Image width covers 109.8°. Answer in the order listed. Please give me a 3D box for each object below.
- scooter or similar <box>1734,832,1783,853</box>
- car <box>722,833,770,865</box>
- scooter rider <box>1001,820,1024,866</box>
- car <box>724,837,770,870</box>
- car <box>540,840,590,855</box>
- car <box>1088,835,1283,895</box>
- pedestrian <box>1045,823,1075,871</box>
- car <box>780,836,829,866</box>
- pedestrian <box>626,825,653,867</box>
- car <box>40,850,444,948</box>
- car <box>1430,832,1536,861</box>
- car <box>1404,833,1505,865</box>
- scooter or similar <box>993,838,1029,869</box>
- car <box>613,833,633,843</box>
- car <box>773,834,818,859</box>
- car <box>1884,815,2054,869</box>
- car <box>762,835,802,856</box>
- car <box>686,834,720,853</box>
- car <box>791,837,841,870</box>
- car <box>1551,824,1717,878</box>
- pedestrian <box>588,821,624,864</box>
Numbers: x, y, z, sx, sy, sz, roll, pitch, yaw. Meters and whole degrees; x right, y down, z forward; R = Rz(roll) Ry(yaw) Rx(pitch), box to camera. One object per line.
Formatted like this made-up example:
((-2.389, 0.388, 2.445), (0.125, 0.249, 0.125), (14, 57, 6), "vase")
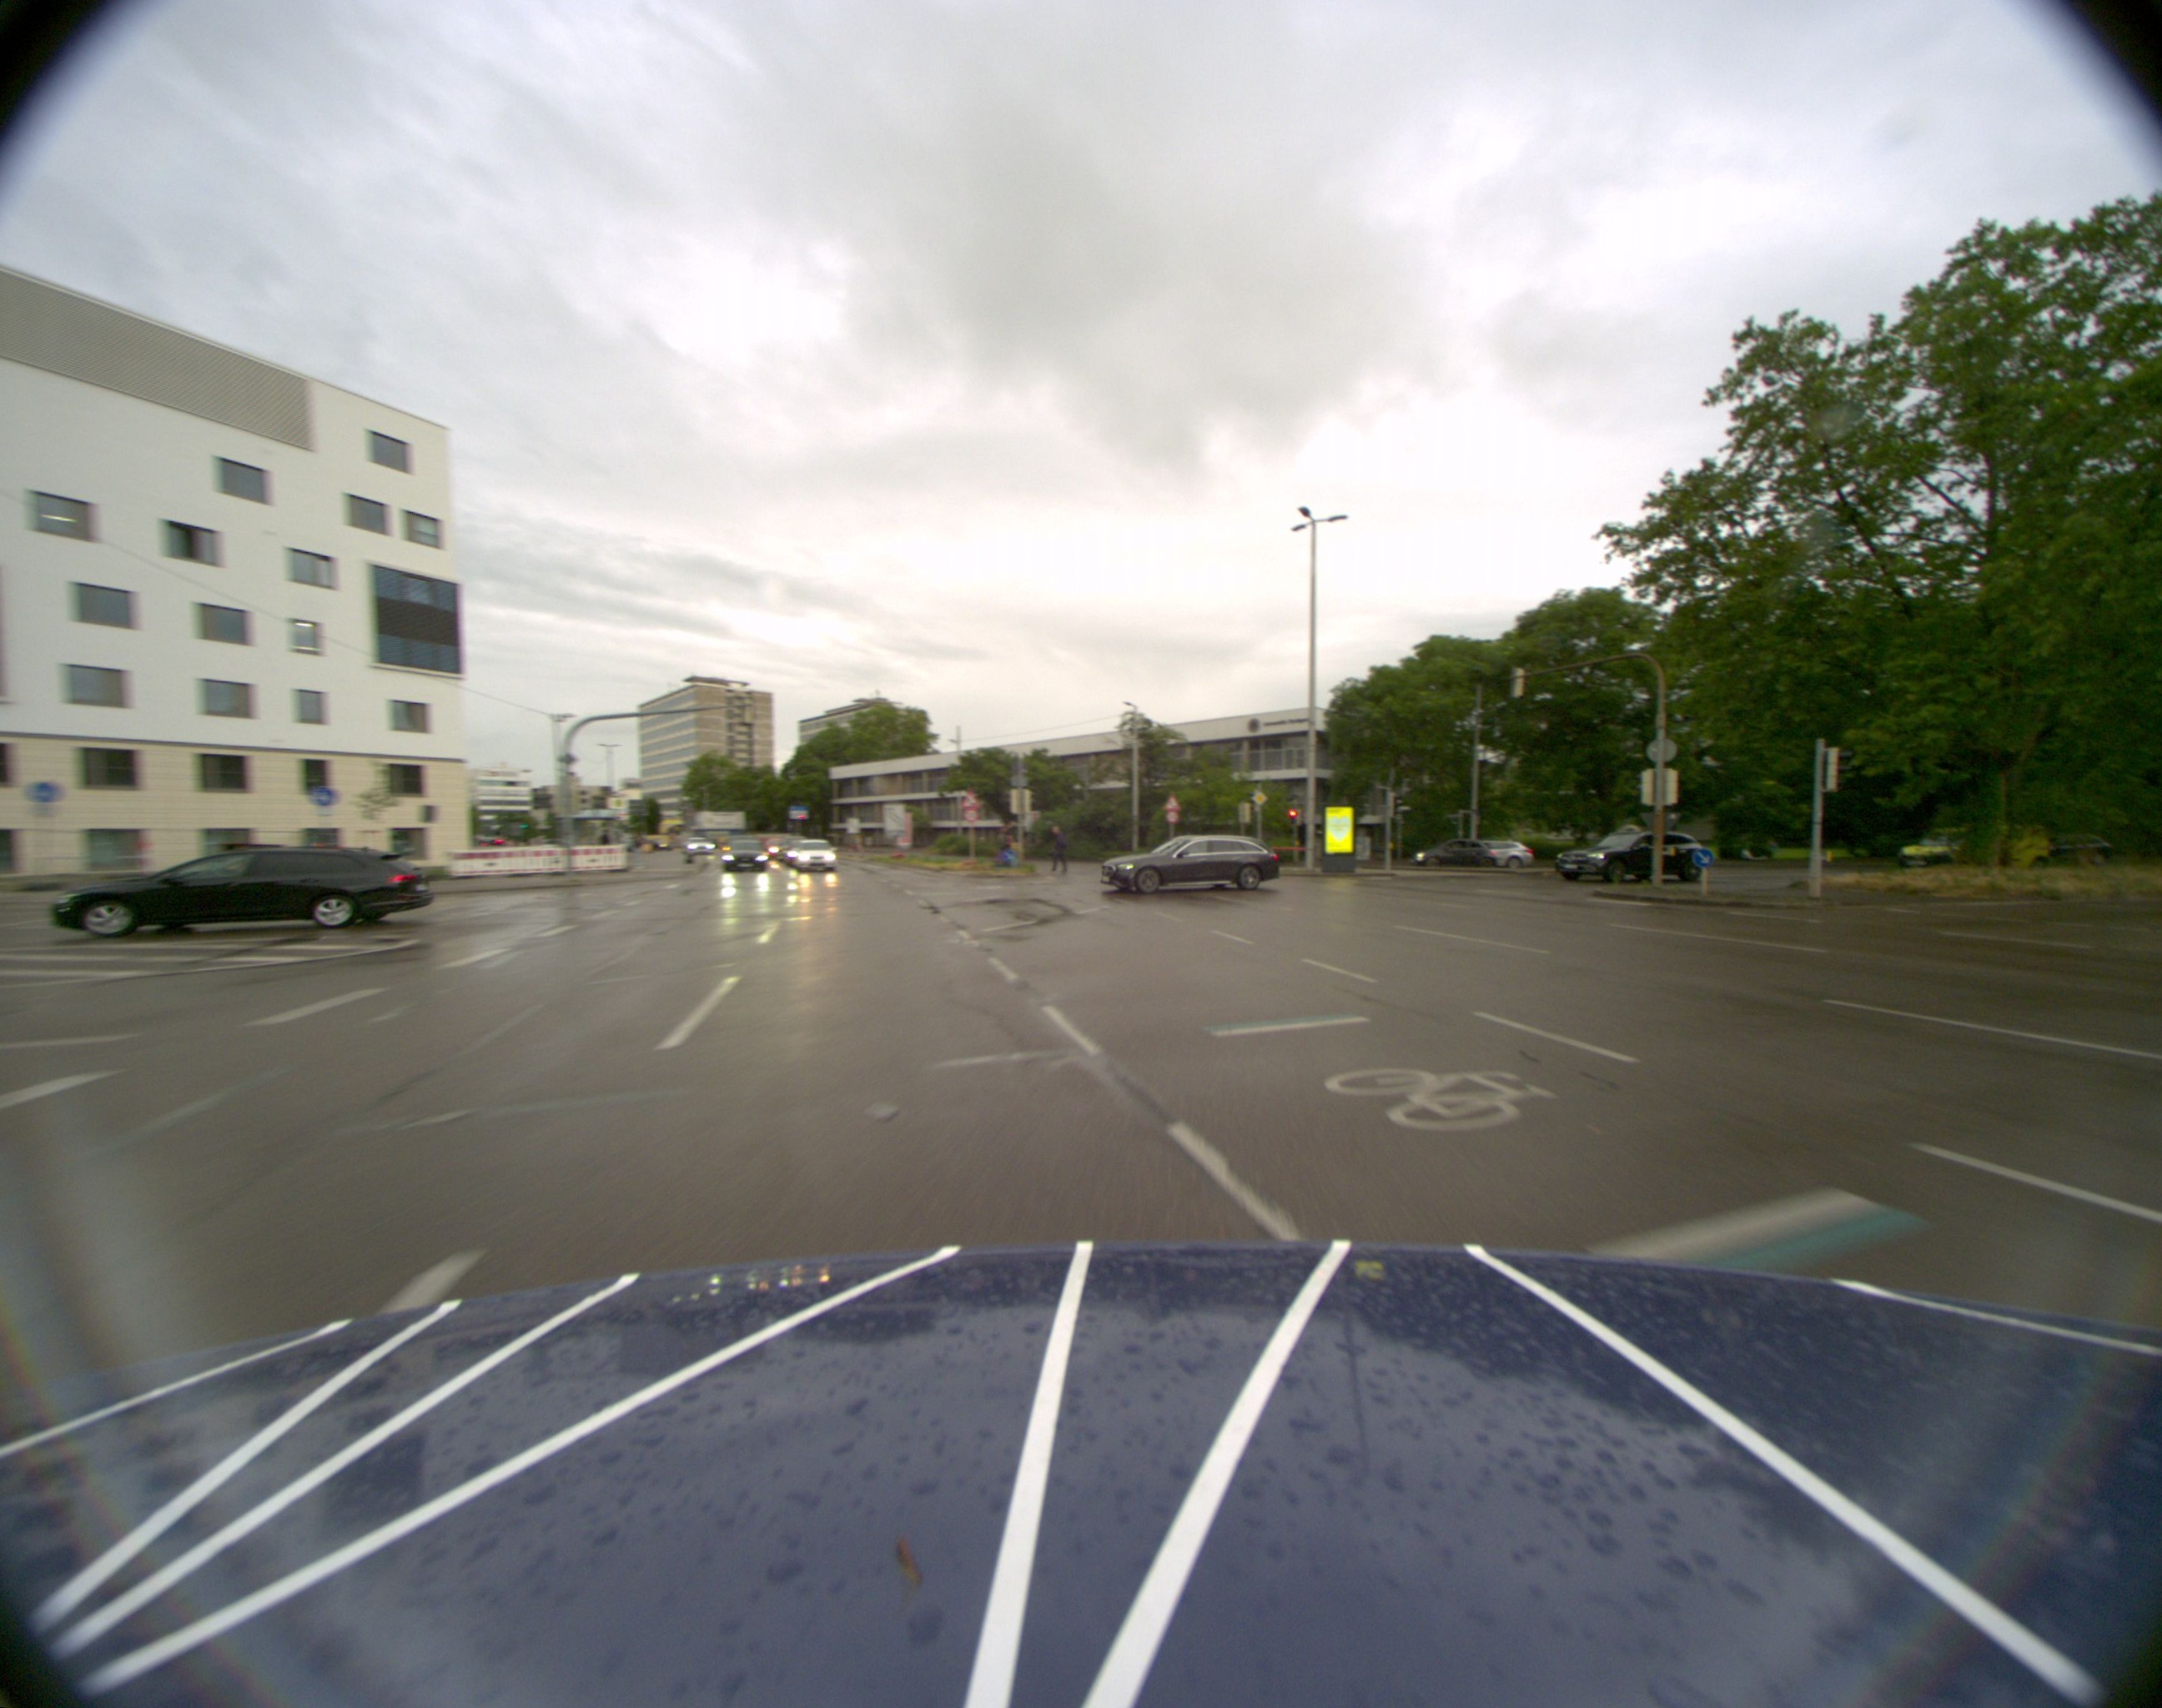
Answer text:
((36.675, -0.632, 41.134), (1.888, 1.096, 0.558), (1, 5, 10), "scooter or similar")
((-18.300, -0.329, 41.386), (2.003, 1.655, 4.376), (-1, 2, -29), "car")
((-2.841, -0.450, 31.704), (0.632, 1.872, 0.724), (-3, 2, -31), "scooter rider")
((-15.699, -0.010, 35.591), (1.800, 1.435, 3.991), (-1, 1, -26), "car")
((-56.285, -0.672, 82.893), (4.062, 1.548, 1.966), (-1, 1, -5), "car")
((2.841, 0.232, 20.742), (4.933, 1.437, 1.882), (-1, 2, -17), "car")
((-0.857, -0.277, 30.555), (0.831, 1.881, 1.025), (-3, 2, -23), "pedestrian")
((-15.287, -0.204, 41.888), (1.969, 1.548, 4.518), (-1, 2, -27), "car")
((-19.690, -0.348, 33.910), (0.824, 1.829, 0.952), (-3, 2, -22), "pedestrian")
((-14.559, 0.687, 13.620), (4.519, 1.458, 1.671), (-1, 2, -28), "car")
((20.268, -0.387, 38.491), (4.397, 1.442, 1.869), (0, 2, 10), "car")
((17.522, -0.260, 35.810), (3.992, 1.442, 1.870), (0, 2, 15), "car")
((-2.918, -0.041, 31.672), (1.315, 1.232, 0.591), (-3, 2, -32), "scooter or similar")
((-80.931, -2.803, 134.219), (4.674, 1.696, 1.801), (2, 3, 44), "car")
((-18.328, -0.492, 48.667), (1.970, 1.528, 4.149), (-1, 1, -31), "car")
((32.422, -0.447, 27.803), (4.742, 1.865, 1.884), (-1, 0, -10), "car")
((-21.505, -0.588, 54.535), (1.970, 1.441, 4.149), (-1, 1, -31), "car")
((-35.608, -0.980, 71.478), (1.970, 1.691, 4.147), (-1, 1, -39), "car")
((-12.588, -0.070, 35.983), (1.800, 1.435, 3.991), (-1, 1, -26), "car")
((18.097, -0.115, 24.911), (4.578, 1.599, 1.832), (-1, 1, -13), "car")
((-21.860, -0.541, 34.979), (0.953, 1.924, 1.005), (-2, 1, -1), "pedestrian")
